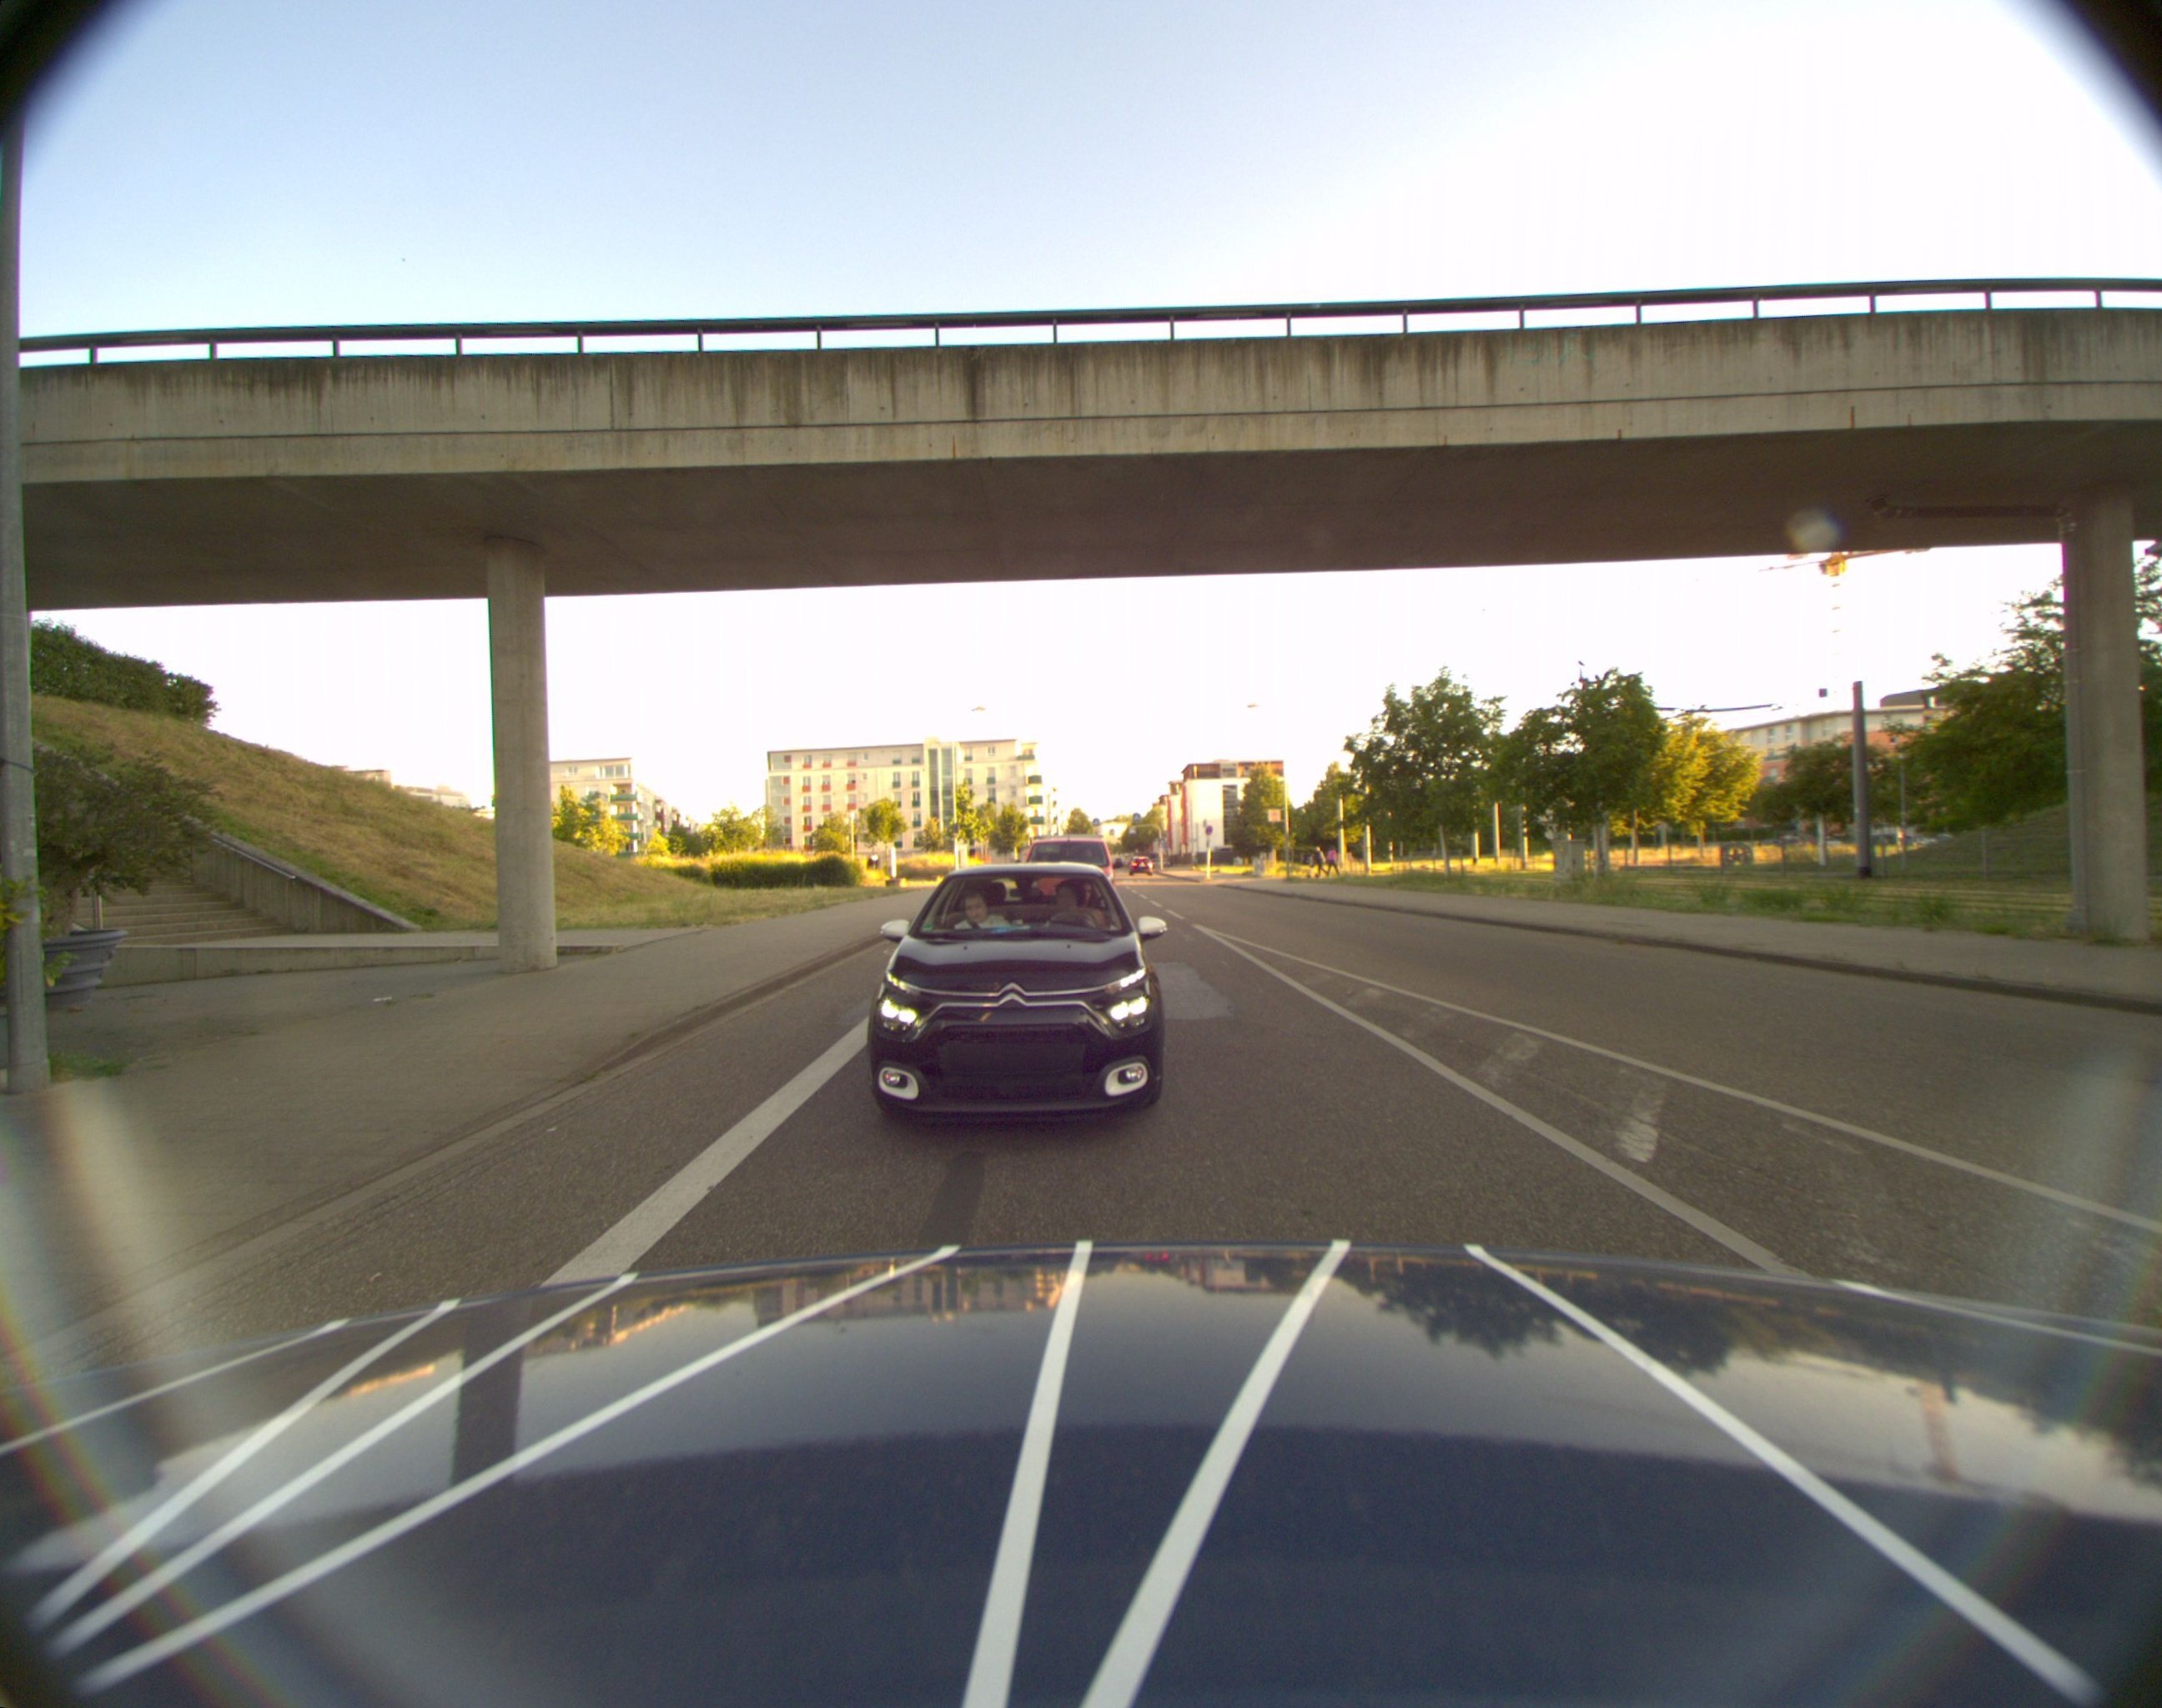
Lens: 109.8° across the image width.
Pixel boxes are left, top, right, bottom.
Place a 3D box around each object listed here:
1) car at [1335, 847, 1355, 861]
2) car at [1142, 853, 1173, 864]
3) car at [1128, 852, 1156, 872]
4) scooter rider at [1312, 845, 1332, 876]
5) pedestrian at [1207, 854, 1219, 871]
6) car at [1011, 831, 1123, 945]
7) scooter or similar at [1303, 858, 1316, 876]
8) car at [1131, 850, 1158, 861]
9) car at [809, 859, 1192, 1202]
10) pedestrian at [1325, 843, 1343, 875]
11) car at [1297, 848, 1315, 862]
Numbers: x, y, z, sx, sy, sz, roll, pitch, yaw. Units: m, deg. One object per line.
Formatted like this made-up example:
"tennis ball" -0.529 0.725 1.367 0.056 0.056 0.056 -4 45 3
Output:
"car" 33.479 -0.053 96.569 1.869 1.710 3.848 -2 0 12
"car" 11.433 0.654 113.980 4.387 1.550 1.839 -2 1 2
"car" 5.073 0.658 63.461 1.998 1.554 4.000 -2 0 1
"scooter rider" 12.602 0.333 39.761 0.897 1.568 0.712 -2 0 10
"pedestrian" 15.611 1.006 89.819 1.088 2.002 1.141 -2 1 29
"car" -0.237 0.621 16.152 1.931 1.979 4.822 -3 0 0
"scooter or similar" 11.976 0.682 39.887 0.552 0.890 0.723 -1 1 10
"car" 12.027 0.296 144.158 4.745 2.002 1.999 -2 1 -2
"car" -0.430 0.848 5.640 1.760 1.543 4.071 -2 0 -2
"pedestrian" 12.777 0.248 38.413 0.779 1.602 0.417 -2 0 12
"car" 28.790 0.127 97.168 1.869 1.710 3.848 -2 0 12
